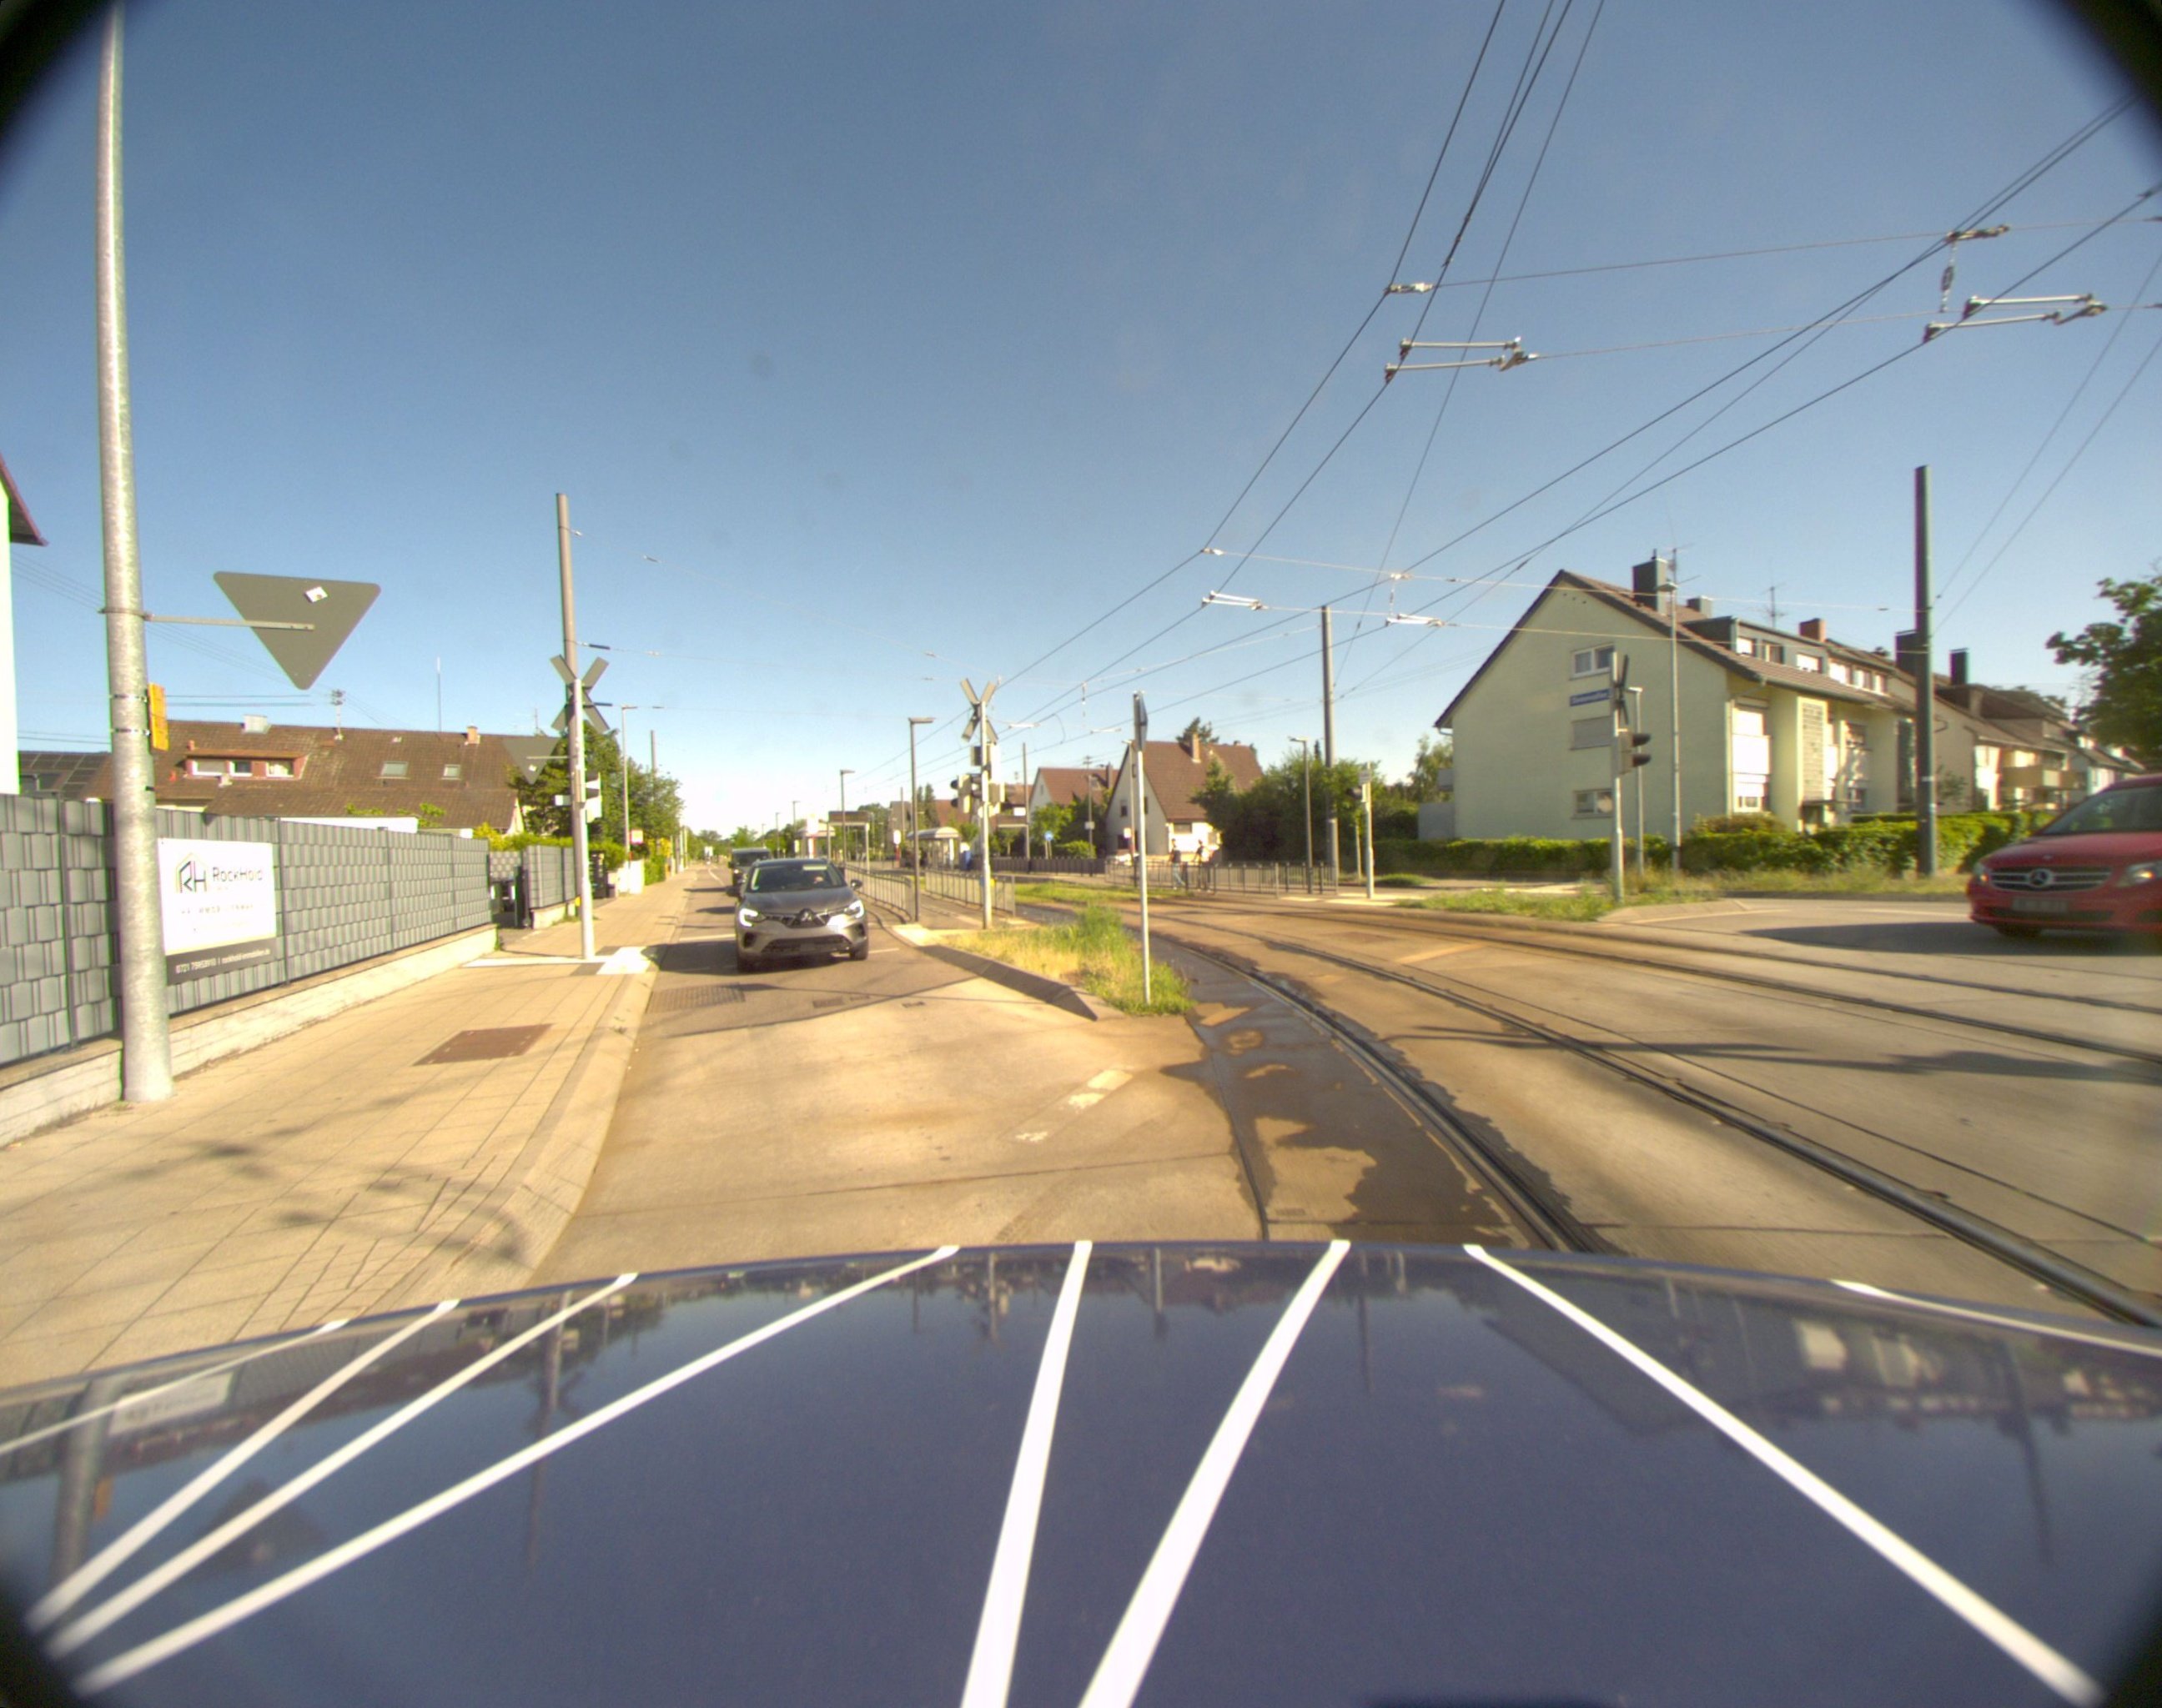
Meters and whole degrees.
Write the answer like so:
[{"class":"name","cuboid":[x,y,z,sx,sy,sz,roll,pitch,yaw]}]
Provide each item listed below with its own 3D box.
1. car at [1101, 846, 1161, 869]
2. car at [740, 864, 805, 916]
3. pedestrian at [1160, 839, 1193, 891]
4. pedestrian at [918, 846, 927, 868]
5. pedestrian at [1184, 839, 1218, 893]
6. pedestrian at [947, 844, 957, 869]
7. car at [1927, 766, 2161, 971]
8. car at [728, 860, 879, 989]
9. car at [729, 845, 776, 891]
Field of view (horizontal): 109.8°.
[{"class":"car","cuboid":[3.695,0.265,56.077,3.997,1.526,1.995,-2,1,-28]},{"class":"car","cuboid":[-9.910,1.077,24.280,1.690,1.379,3.992,-3,1,-24]},{"class":"pedestrian","cuboid":[3.313,0.366,26.284,0.823,1.761,0.691,1,5,40]},{"class":"pedestrian","cuboid":[-12.552,0.211,60.080,0.536,1.742,0.542,-2,1,-25]},{"class":"pedestrian","cuboid":[3.856,0.379,24.405,0.725,1.652,0.798,1,5,40]},{"class":"pedestrian","cuboid":[-9.103,0.182,53.621,0.623,1.742,0.441,-2,1,-6]},{"class":"car","cuboid":[12.965,-0.003,8.315,5.234,1.970,1.999,-3,1,-1]},{"class":"car","cuboid":[-4.520,0.940,12.089,1.833,1.570,3.992,-3,1,-24]},{"class":"car","cuboid":[-17.725,0.720,40.976,2.093,2.227,4.712,-3,1,-24]}]
